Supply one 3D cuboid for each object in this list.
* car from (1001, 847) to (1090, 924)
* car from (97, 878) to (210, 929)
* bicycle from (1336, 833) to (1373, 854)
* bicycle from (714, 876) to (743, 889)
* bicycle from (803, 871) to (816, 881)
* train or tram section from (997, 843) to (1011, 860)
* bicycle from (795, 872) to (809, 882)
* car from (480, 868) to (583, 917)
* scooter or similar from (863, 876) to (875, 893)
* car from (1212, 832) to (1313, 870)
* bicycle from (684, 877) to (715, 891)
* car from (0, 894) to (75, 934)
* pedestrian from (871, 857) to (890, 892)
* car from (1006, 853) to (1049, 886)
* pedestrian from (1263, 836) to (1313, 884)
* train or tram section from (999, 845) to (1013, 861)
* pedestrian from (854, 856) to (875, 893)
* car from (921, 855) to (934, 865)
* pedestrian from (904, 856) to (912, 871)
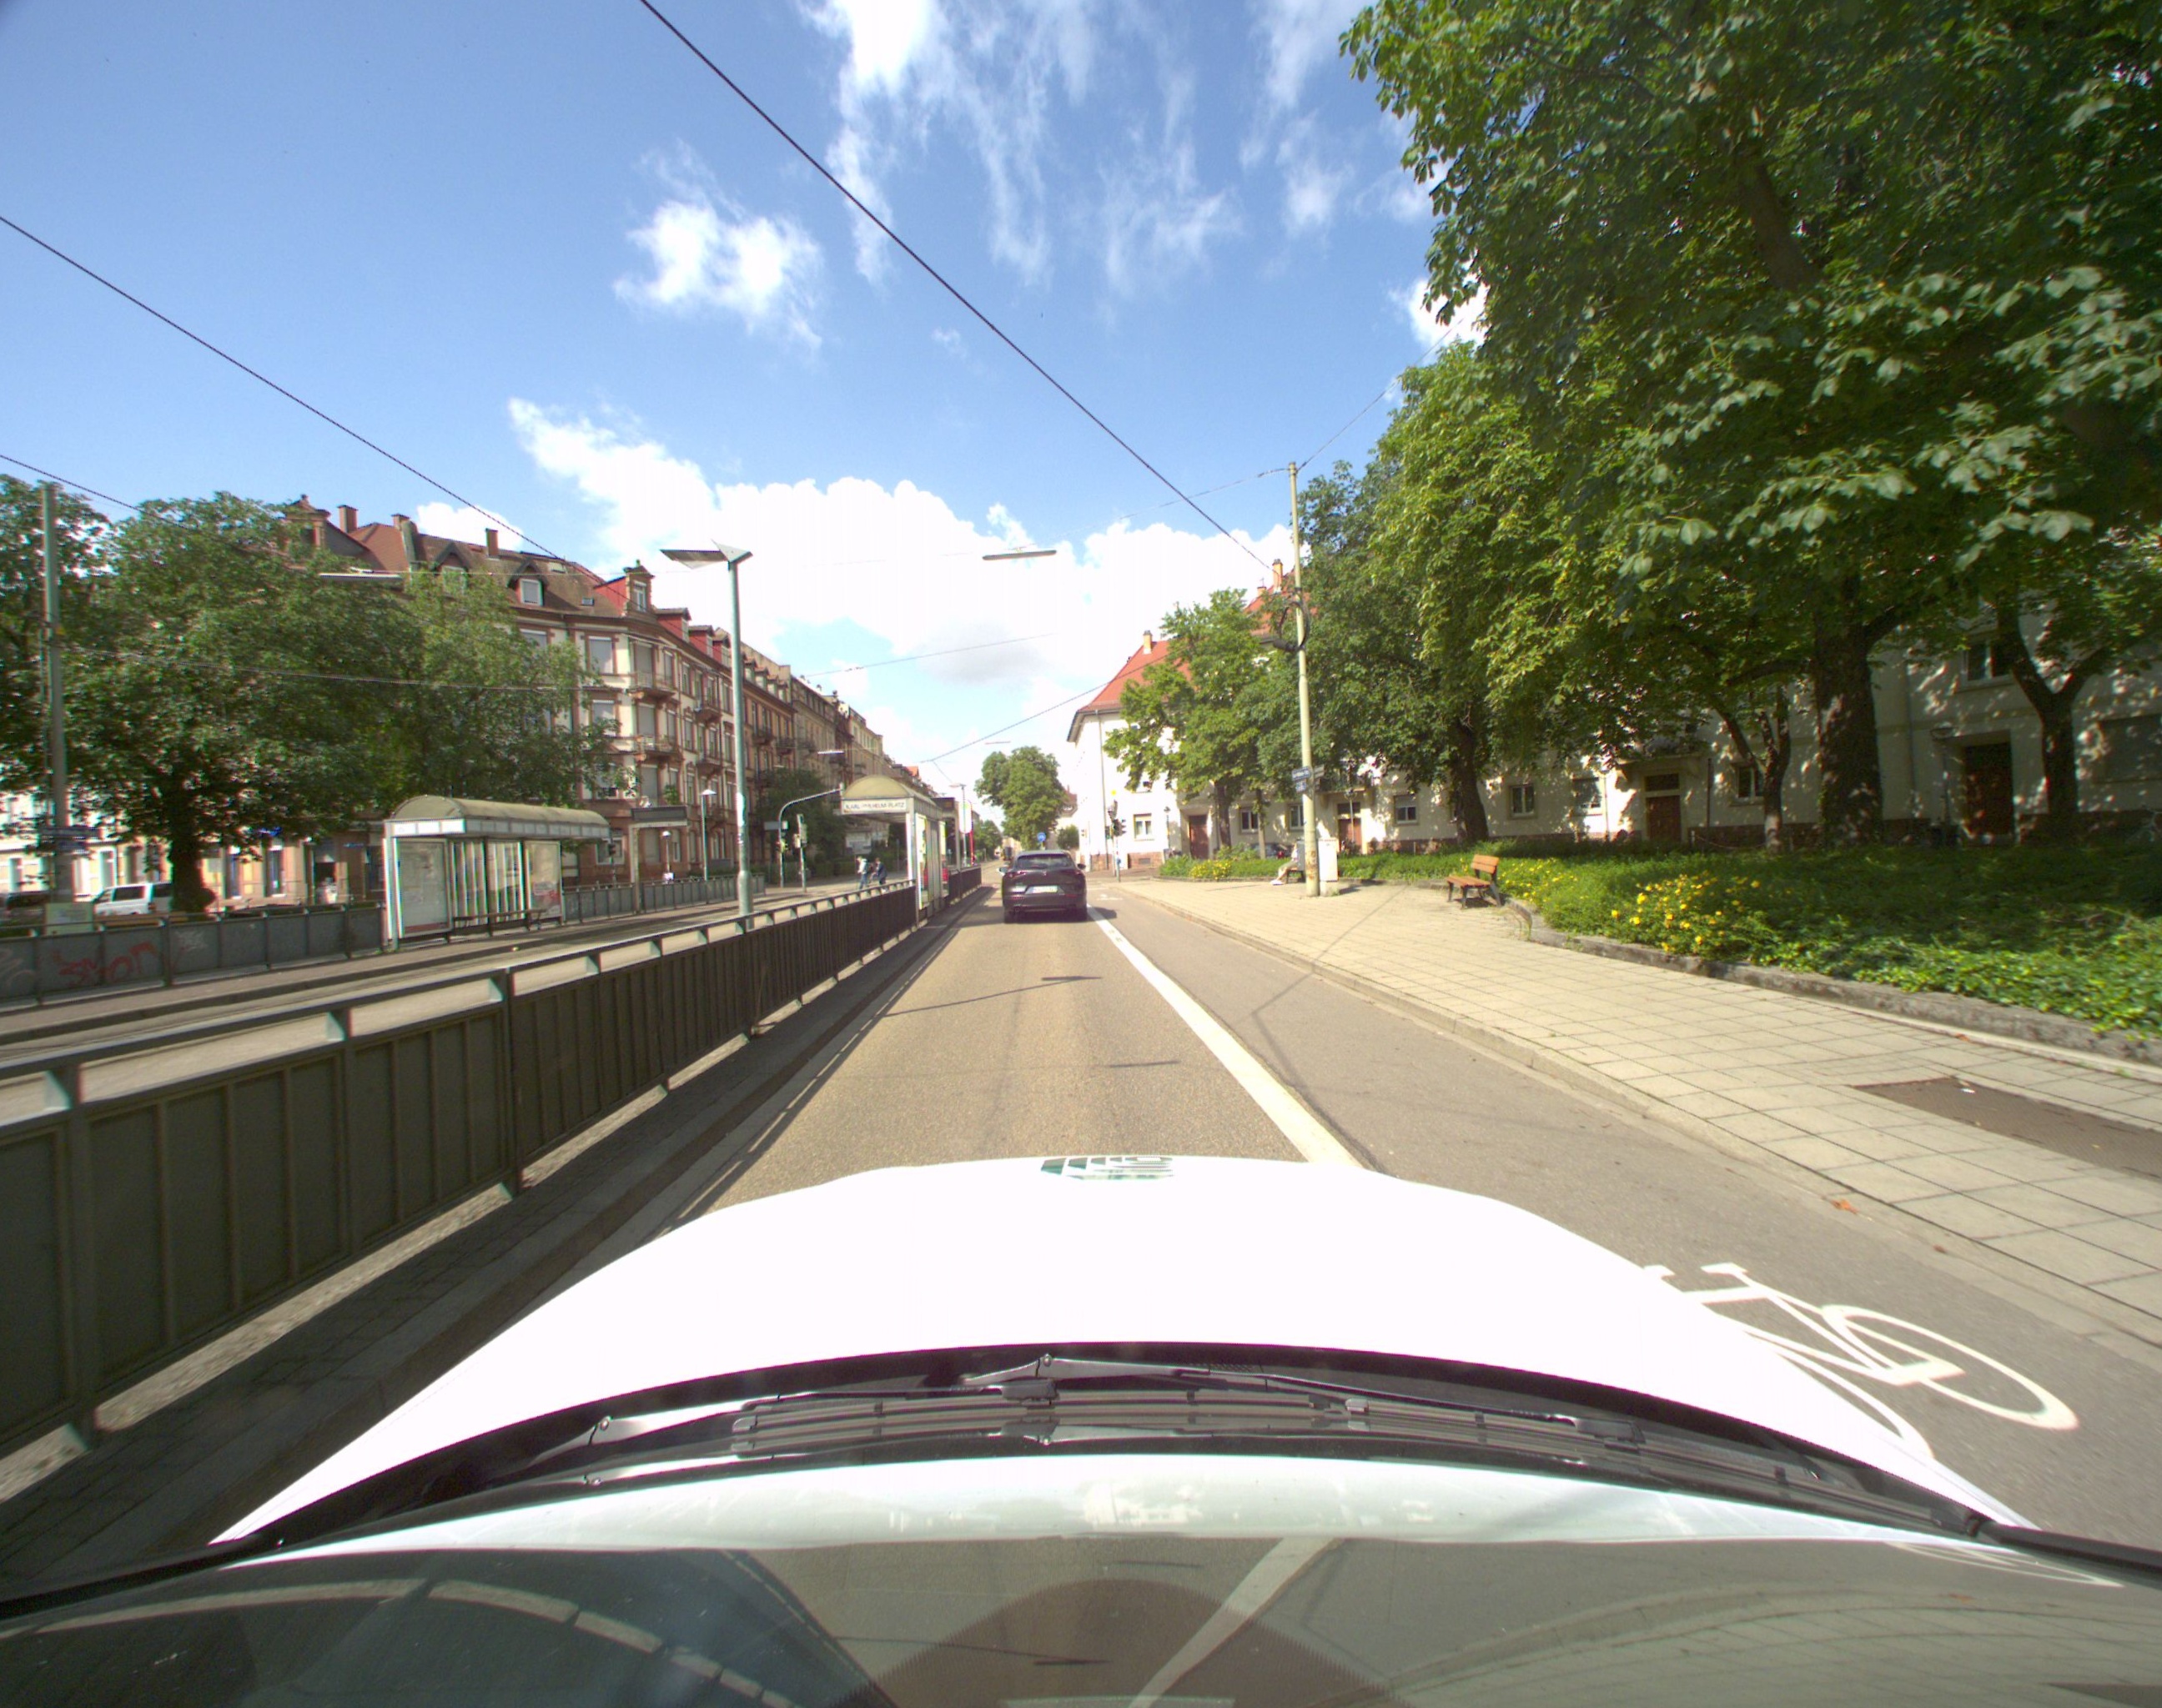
[{"bbox_3d":[-0.895,0.638,18.473,1.779,1.514,3.992,-1,0,-5],"label":"car"},{"bbox_3d":[-40.236,2.154,35.353,3.902,1.988,1.866,-2,0,20],"label":"car"},{"bbox_3d":[14.215,-0.539,42.342,0.570,1.020,1.732,-5,2,-41],"label":"bicycle"},{"bbox_3d":[-22.517,1.823,52.064,0.381,0.747,1.722,-3,0,32],"label":"bicycle"},{"bbox_3d":[-20.923,1.661,62.747,0.384,0.677,1.711,-3,0,1],"label":"bicycle"},{"bbox_3d":[-19.334,-0.482,205.831,2.991,3.983,13.789,-3,0,-4],"label":"train or tram section"},{"bbox_3d":[-20.736,1.708,60.550,0.384,0.653,1.711,-3,0,1],"label":"bicycle"},{"bbox_3d":[-22.798,1.541,33.980,1.676,1.776,3.995,-3,0,-3],"label":"car"},{"bbox_3d":[-9.721,1.394,37.285,0.413,0.721,0.485,-3,0,-4],"label":"scooter or similar"},{"bbox_3d":[8.395,-0.133,37.783,4.118,1.509,1.864,-3,2,38],"label":"car"},{"bbox_3d":[-23.581,1.836,50.351,0.381,0.747,1.722,-3,0,32],"label":"bicycle"},{"bbox_3d":[-49.620,2.831,38.081,3.896,1.663,1.926,-3,0,19],"label":"car"},{"bbox_3d":[-9.202,0.946,37.358,0.666,1.546,0.580,-3,0,-5],"label":"pedestrian"},{"bbox_3d":[-2.653,0.709,39.865,1.774,1.464,3.831,-1,0,-8],"label":"car"},{"bbox_3d":[6.036,0.170,23.780,1.192,1.269,0.556,-5,0,-9],"label":"pedestrian"},{"bbox_3d":[-20.162,-0.293,219.596,2.991,3.983,13.789,-3,0,-4],"label":"train or tram section"},{"bbox_3d":[-10.049,0.928,37.828,0.769,1.674,0.667,-3,0,-5],"label":"pedestrian"},{"bbox_3d":[-26.560,1.068,141.077,1.654,1.596,3.924,-3,0,-4],"label":"car"},{"bbox_3d":[-20.747,1.151,97.754,0.786,1.688,0.731,-3,0,-2],"label":"pedestrian"}]
